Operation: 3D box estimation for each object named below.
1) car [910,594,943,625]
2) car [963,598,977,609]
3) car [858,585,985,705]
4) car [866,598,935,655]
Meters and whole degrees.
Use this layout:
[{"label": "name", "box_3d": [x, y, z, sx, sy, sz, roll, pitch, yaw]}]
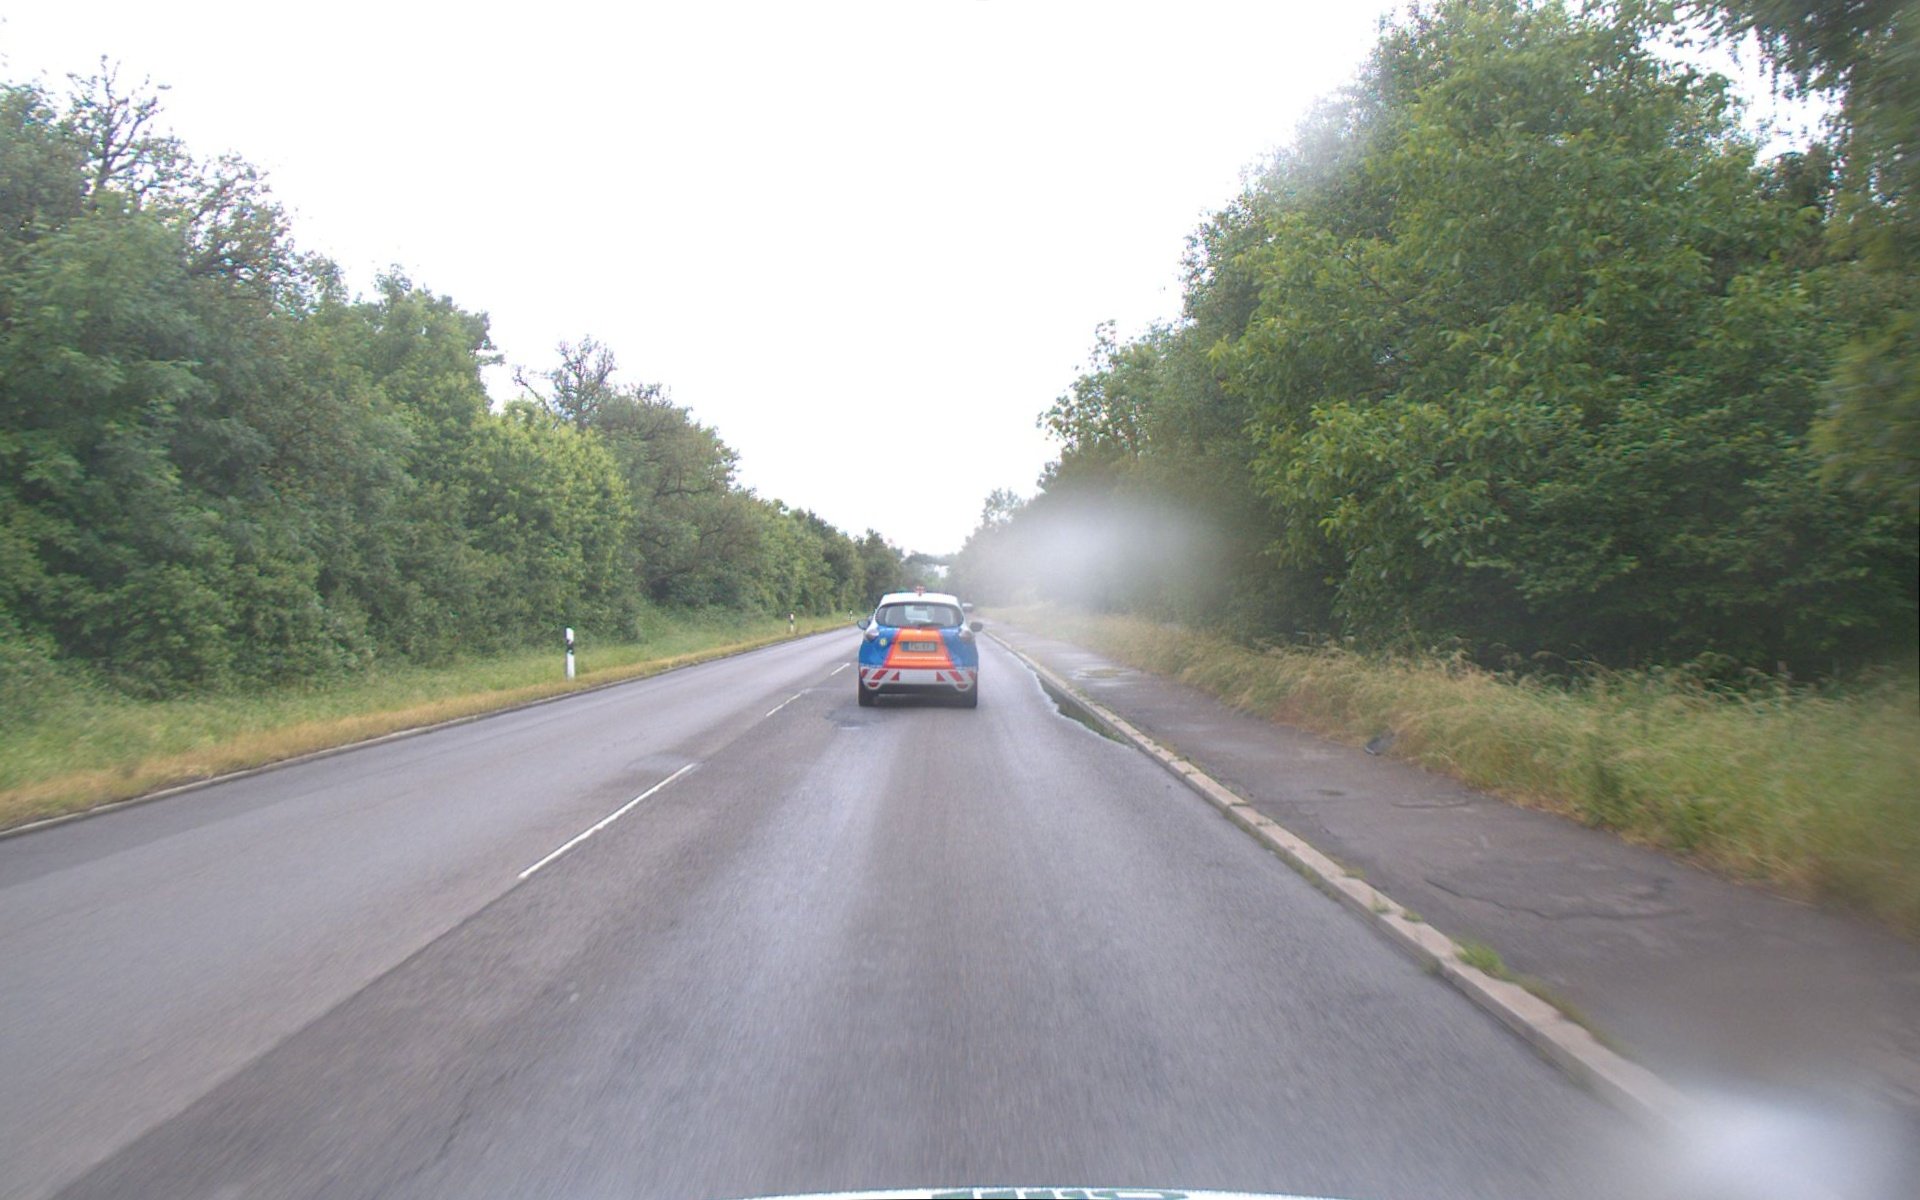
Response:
[{"label": "car", "box_3d": [-2.070, 0.584, 103.912, 1.902, 1.753, 4.063, -2, 1, 0]}, {"label": "car", "box_3d": [1.444, 0.471, 235.130, 1.953, 1.400, 4.000, -2, 0, 0]}, {"label": "car", "box_3d": [-0.545, 0.592, 24.298, 1.716, 1.583, 3.792, 0, 1, -1]}, {"label": "car", "box_3d": [-1.463, 0.626, 41.504, 1.566, 1.309, 3.476, -2, 0, 0]}]
